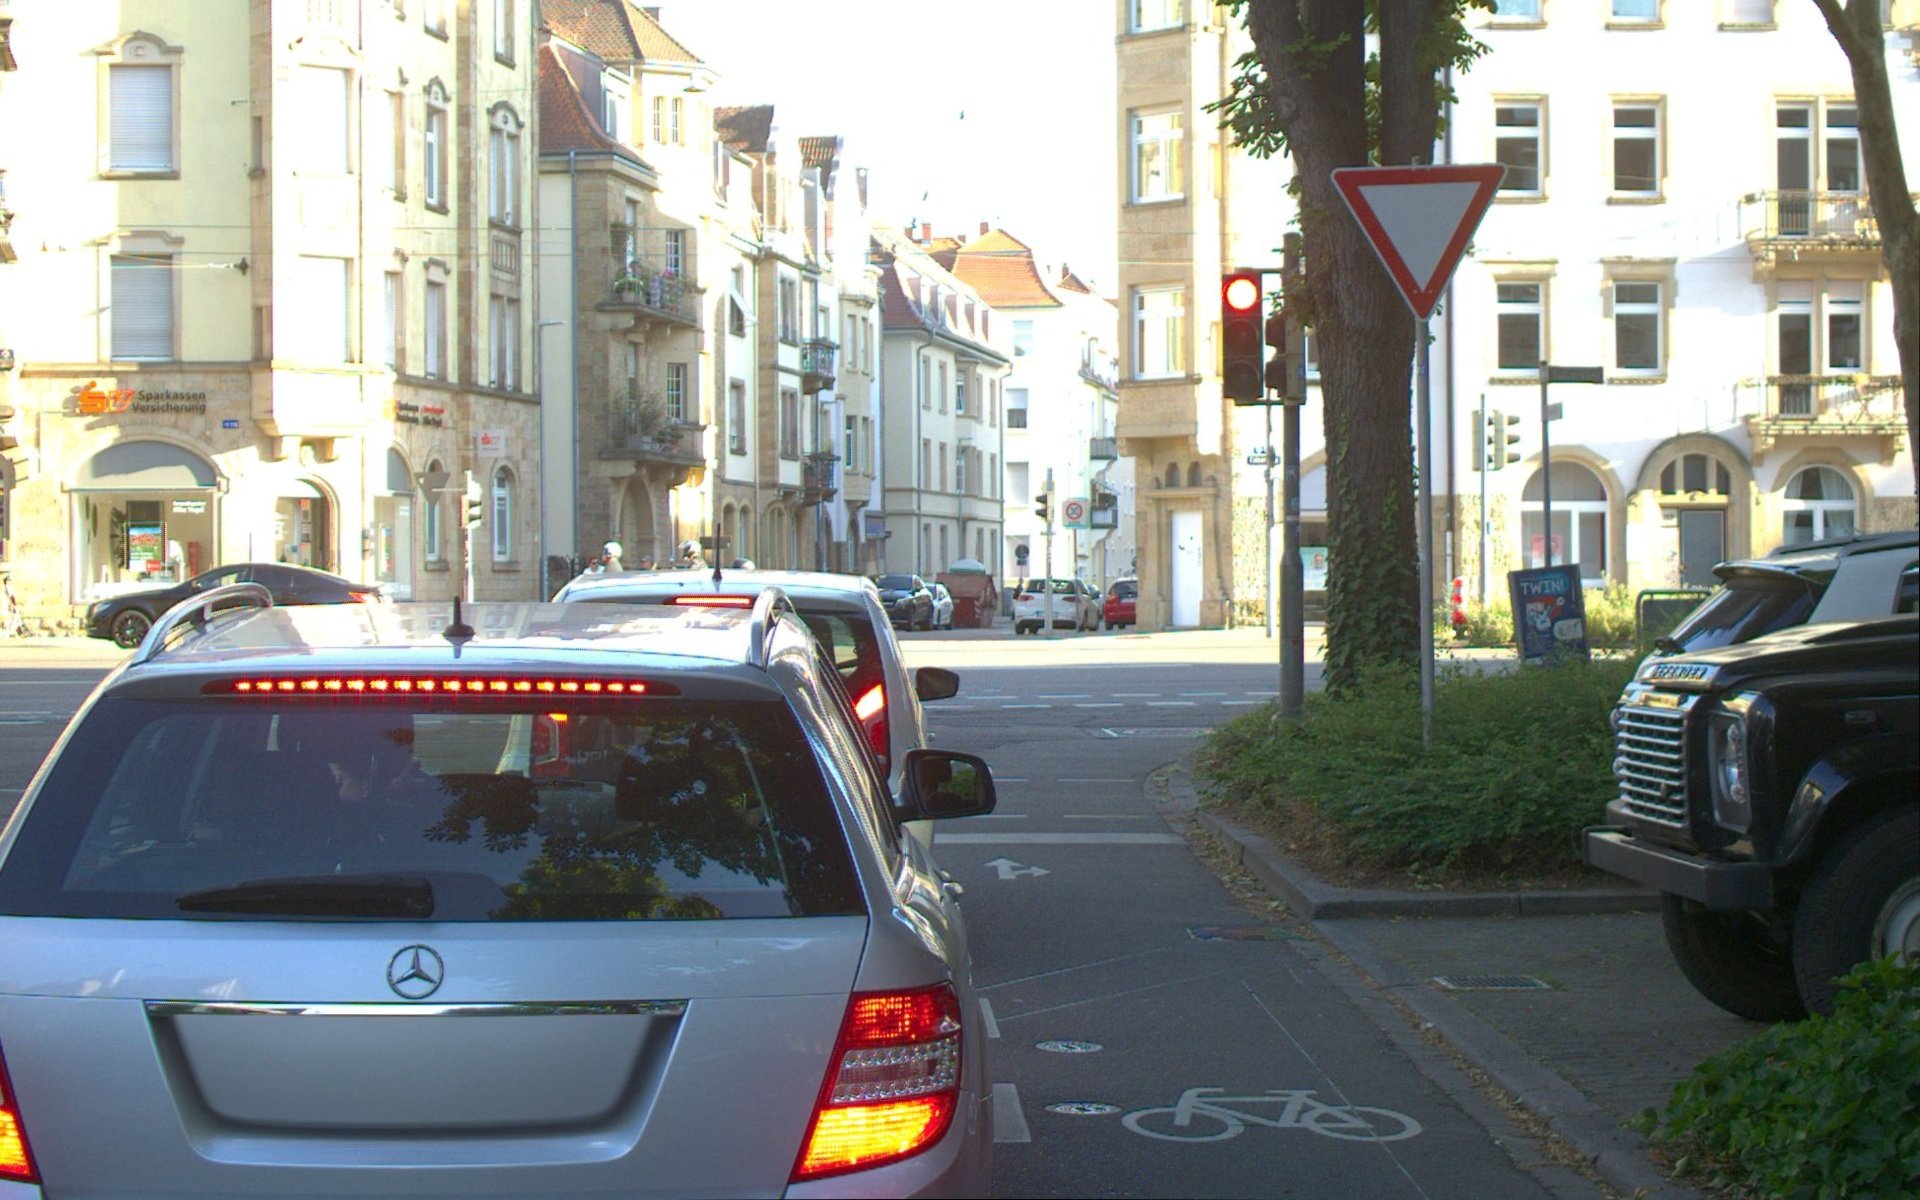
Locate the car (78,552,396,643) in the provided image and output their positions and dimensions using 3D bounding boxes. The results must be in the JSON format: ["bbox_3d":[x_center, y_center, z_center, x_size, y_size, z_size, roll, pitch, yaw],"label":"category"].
[{"bbox_3d":[-11.793,-0.057,56.316,4.883,1.447,1.859,0,1,-4],"label":"car"}]

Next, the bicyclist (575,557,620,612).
[{"bbox_3d":[-7.742,-0.330,73.460,0.771,1.152,0.752,1,1,11],"label":"bicyclist"}]

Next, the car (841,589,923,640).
[{"bbox_3d":[-2.314,0.404,102.531,1.835,1.397,3.999,0,1,8],"label":"car"}]

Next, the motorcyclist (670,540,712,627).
[{"bbox_3d":[-4.501,-0.283,57.613,0.681,1.447,0.568,-1,1,-4],"label":"motorcyclist"}]

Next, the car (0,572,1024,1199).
[{"bbox_3d":[-0.894,0.685,6.960,1.777,1.447,4.548,0,1,-2],"label":"car"}]

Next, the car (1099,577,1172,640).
[{"bbox_3d":[5.228,0.231,101.930,1.835,1.738,3.999,0,1,8],"label":"car"}]

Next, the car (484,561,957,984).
[{"bbox_3d":[-0.911,0.575,14.050,1.619,1.442,4.345,0,1,-2],"label":"car"}]

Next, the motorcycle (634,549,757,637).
[{"bbox_3d":[-4.430,-0.129,57.620,2.033,1.447,0.568,-1,1,-4],"label":"motorcycle"}]

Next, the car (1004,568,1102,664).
[{"bbox_3d":[2.350,0.363,85.898,2.031,2.272,3.999,0,1,8],"label":"car"}]

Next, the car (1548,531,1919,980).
[{"bbox_3d":[4.294,0.508,13.089,3.723,1.564,1.709,-1,0,-4],"label":"car"}]

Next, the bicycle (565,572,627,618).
[{"bbox_3d":[-7.760,-0.107,73.385,0.771,0.936,1.939,1,1,11],"label":"bicycle"}]

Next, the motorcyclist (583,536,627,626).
[{"bbox_3d":[-5.782,-0.311,56.027,0.681,1.447,0.568,-1,1,-4],"label":"motorcyclist"}]

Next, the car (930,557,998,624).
[{"bbox_3d":[0.142,-0.341,117.348,1.787,2.196,3.999,0,1,8],"label":"car"}]

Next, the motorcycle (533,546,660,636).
[{"bbox_3d":[-5.916,-0.155,56.025,2.033,1.447,0.568,-1,1,-4],"label":"motorcycle"}]

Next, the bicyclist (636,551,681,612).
[{"bbox_3d":[-6.435,-0.390,73.469,0.771,1.285,0.752,1,1,11],"label":"bicyclist"}]

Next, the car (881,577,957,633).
[{"bbox_3d":[-1.268,0.129,108.760,1.835,1.657,3.999,0,1,8],"label":"car"}]

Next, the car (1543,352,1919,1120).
[{"bbox_3d":[4.139,0.308,10.120,4.465,2.029,1.701,-1,0,-3],"label":"car"}]
